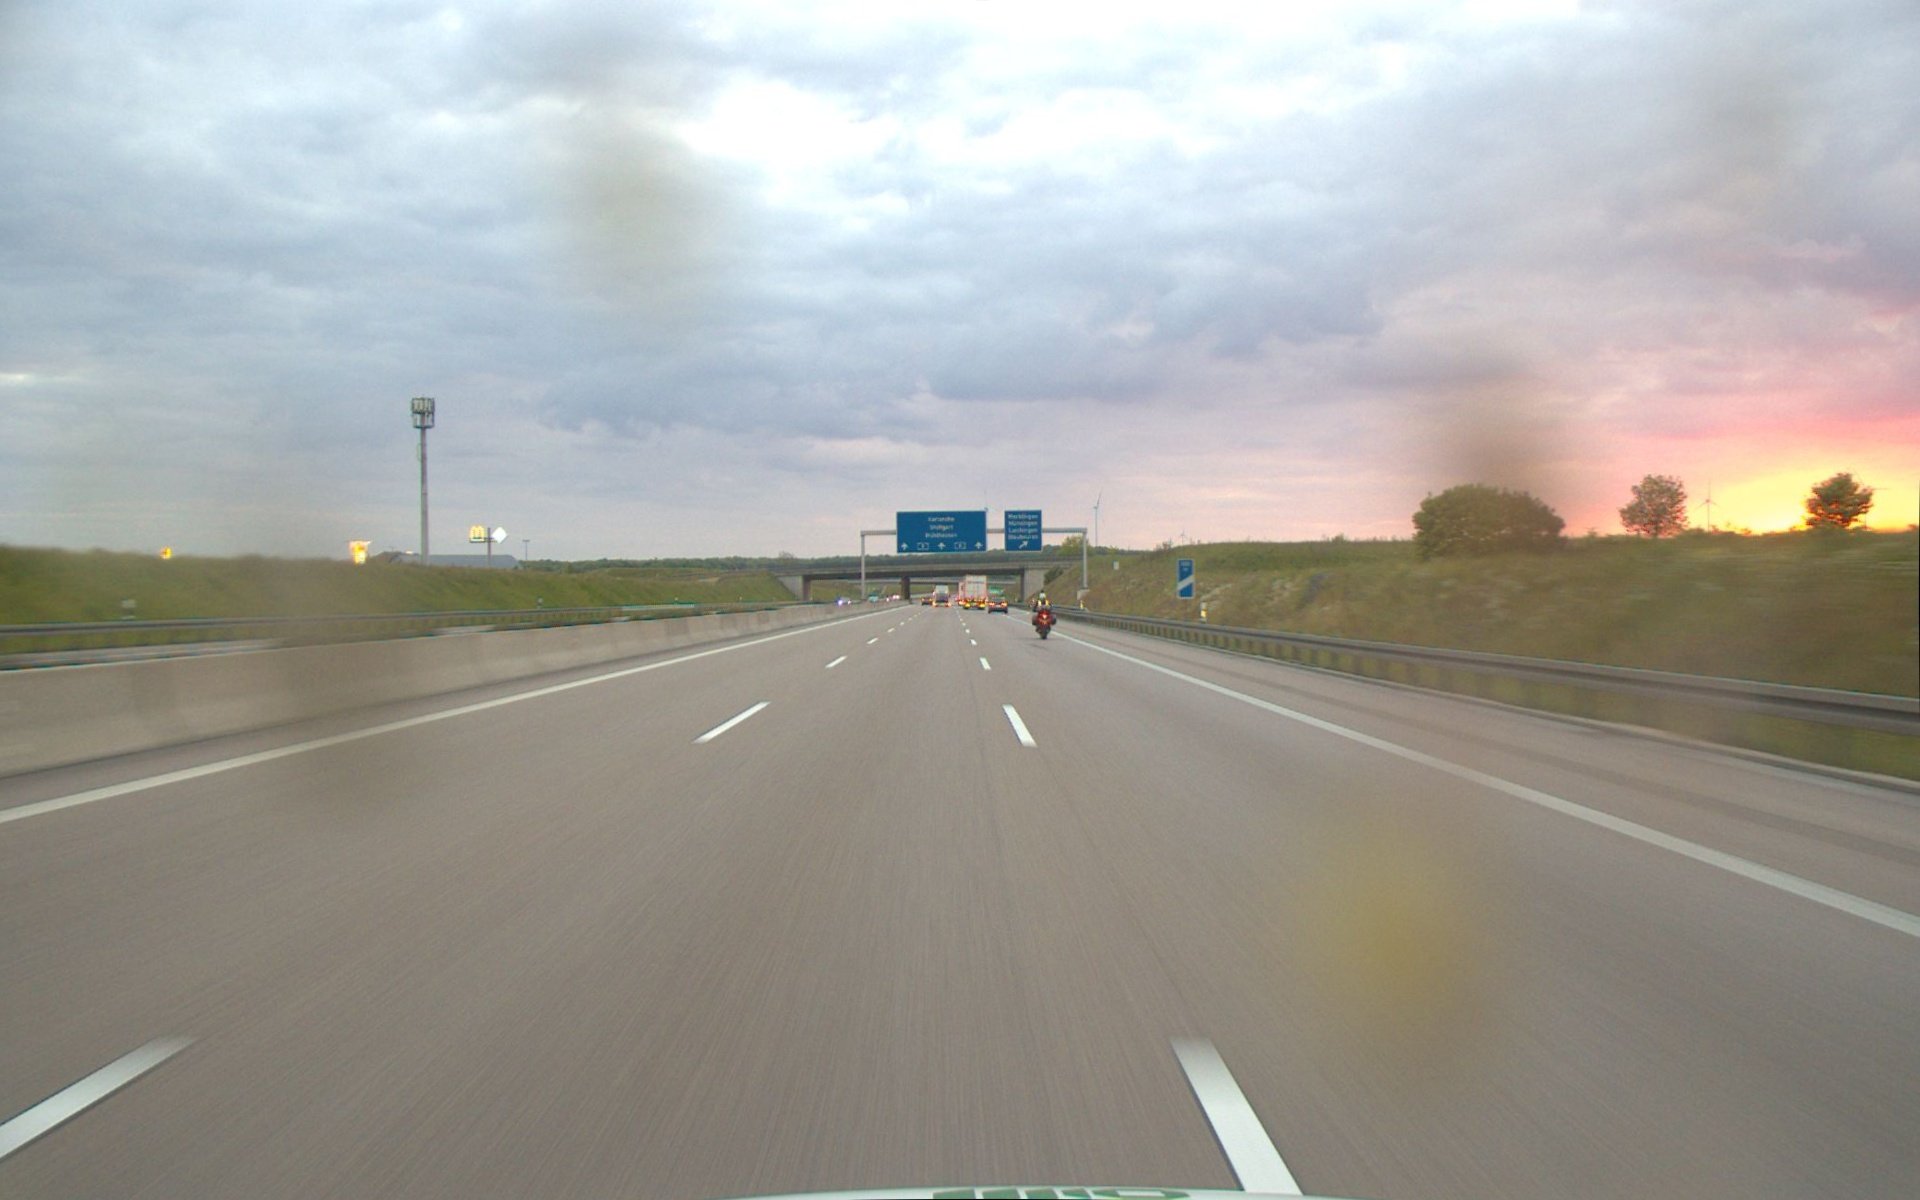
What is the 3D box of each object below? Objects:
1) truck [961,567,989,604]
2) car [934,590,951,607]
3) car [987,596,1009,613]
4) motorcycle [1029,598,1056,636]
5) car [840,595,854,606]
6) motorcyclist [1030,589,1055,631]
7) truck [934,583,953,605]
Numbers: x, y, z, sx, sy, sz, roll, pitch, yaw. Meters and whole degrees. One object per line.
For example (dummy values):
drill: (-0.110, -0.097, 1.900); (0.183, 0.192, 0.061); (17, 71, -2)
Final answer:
truck: (1.800, -1.806, 199.486); (3.167, 4.301, 9.598); (1, 1, 0)
car: (-2.622, -0.197, 242.662); (2.465, 2.433, 6.494); (0, 0, -1)
car: (3.635, 0.408, 157.894); (1.879, 1.607, 3.999); (0, 0, -1)
motorcycle: (3.091, 0.627, 62.099); (0.883, 1.370, 2.349); (0, 1, 0)
car: (-17.232, 0.122, 252.841); (1.962, 1.615, 4.571); (0, 0, -2)
motorcyclist: (3.079, 0.367, 61.806); (0.848, 1.513, 1.168); (1, 1, 1)
truck: (-2.595, -0.907, 258.627); (2.892, 3.273, 8.404); (1, 1, -1)
